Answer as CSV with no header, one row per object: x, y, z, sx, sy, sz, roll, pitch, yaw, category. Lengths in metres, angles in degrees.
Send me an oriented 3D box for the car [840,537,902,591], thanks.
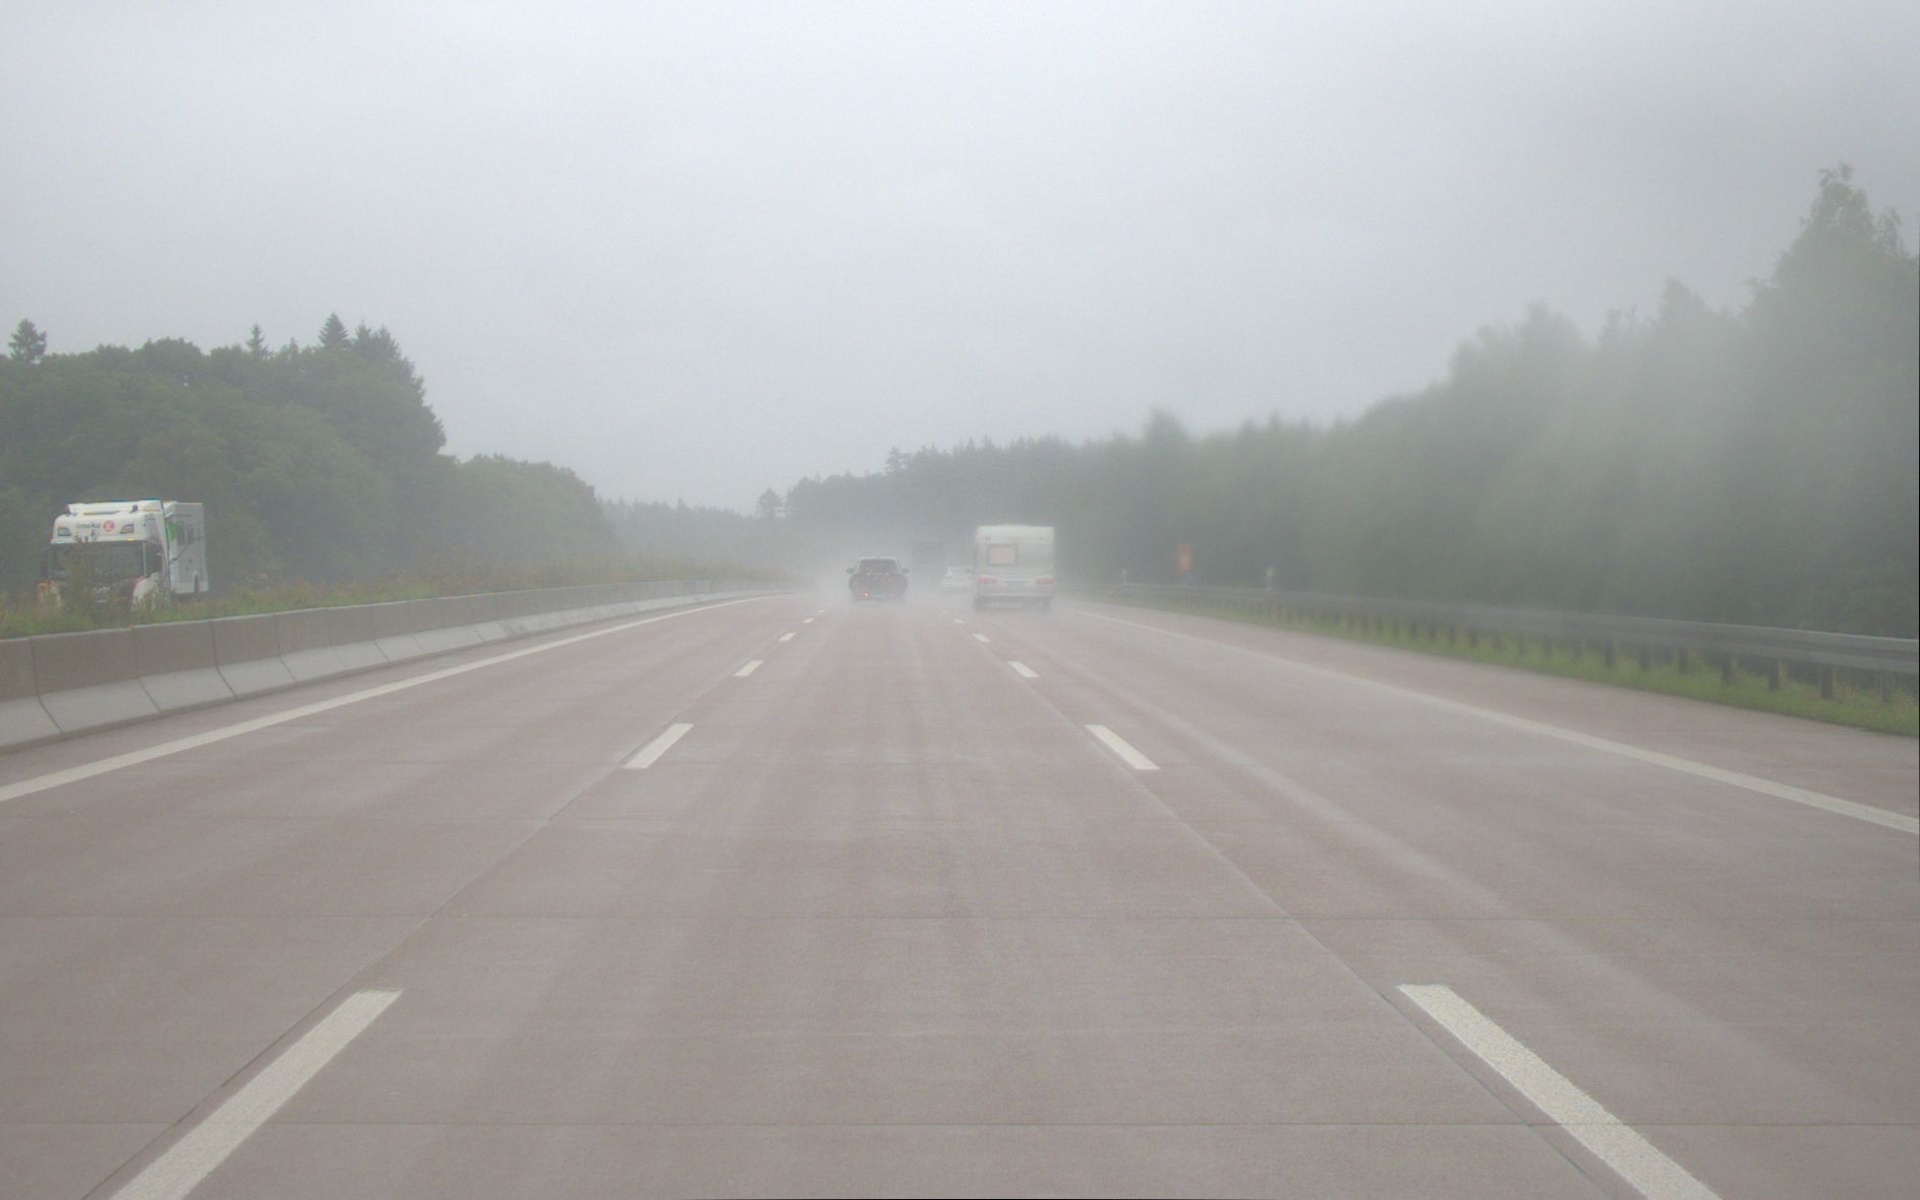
-2.927,-1.202,113.630,1.937,1.723,4.130,0,1,0,car

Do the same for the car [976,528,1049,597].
1.525,-1.119,101.860,2.058,1.993,4.099,1,1,0,car

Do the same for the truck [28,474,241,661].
-20.995,-0.856,88.055,3.145,4.457,9.558,2,1,-1,truck
